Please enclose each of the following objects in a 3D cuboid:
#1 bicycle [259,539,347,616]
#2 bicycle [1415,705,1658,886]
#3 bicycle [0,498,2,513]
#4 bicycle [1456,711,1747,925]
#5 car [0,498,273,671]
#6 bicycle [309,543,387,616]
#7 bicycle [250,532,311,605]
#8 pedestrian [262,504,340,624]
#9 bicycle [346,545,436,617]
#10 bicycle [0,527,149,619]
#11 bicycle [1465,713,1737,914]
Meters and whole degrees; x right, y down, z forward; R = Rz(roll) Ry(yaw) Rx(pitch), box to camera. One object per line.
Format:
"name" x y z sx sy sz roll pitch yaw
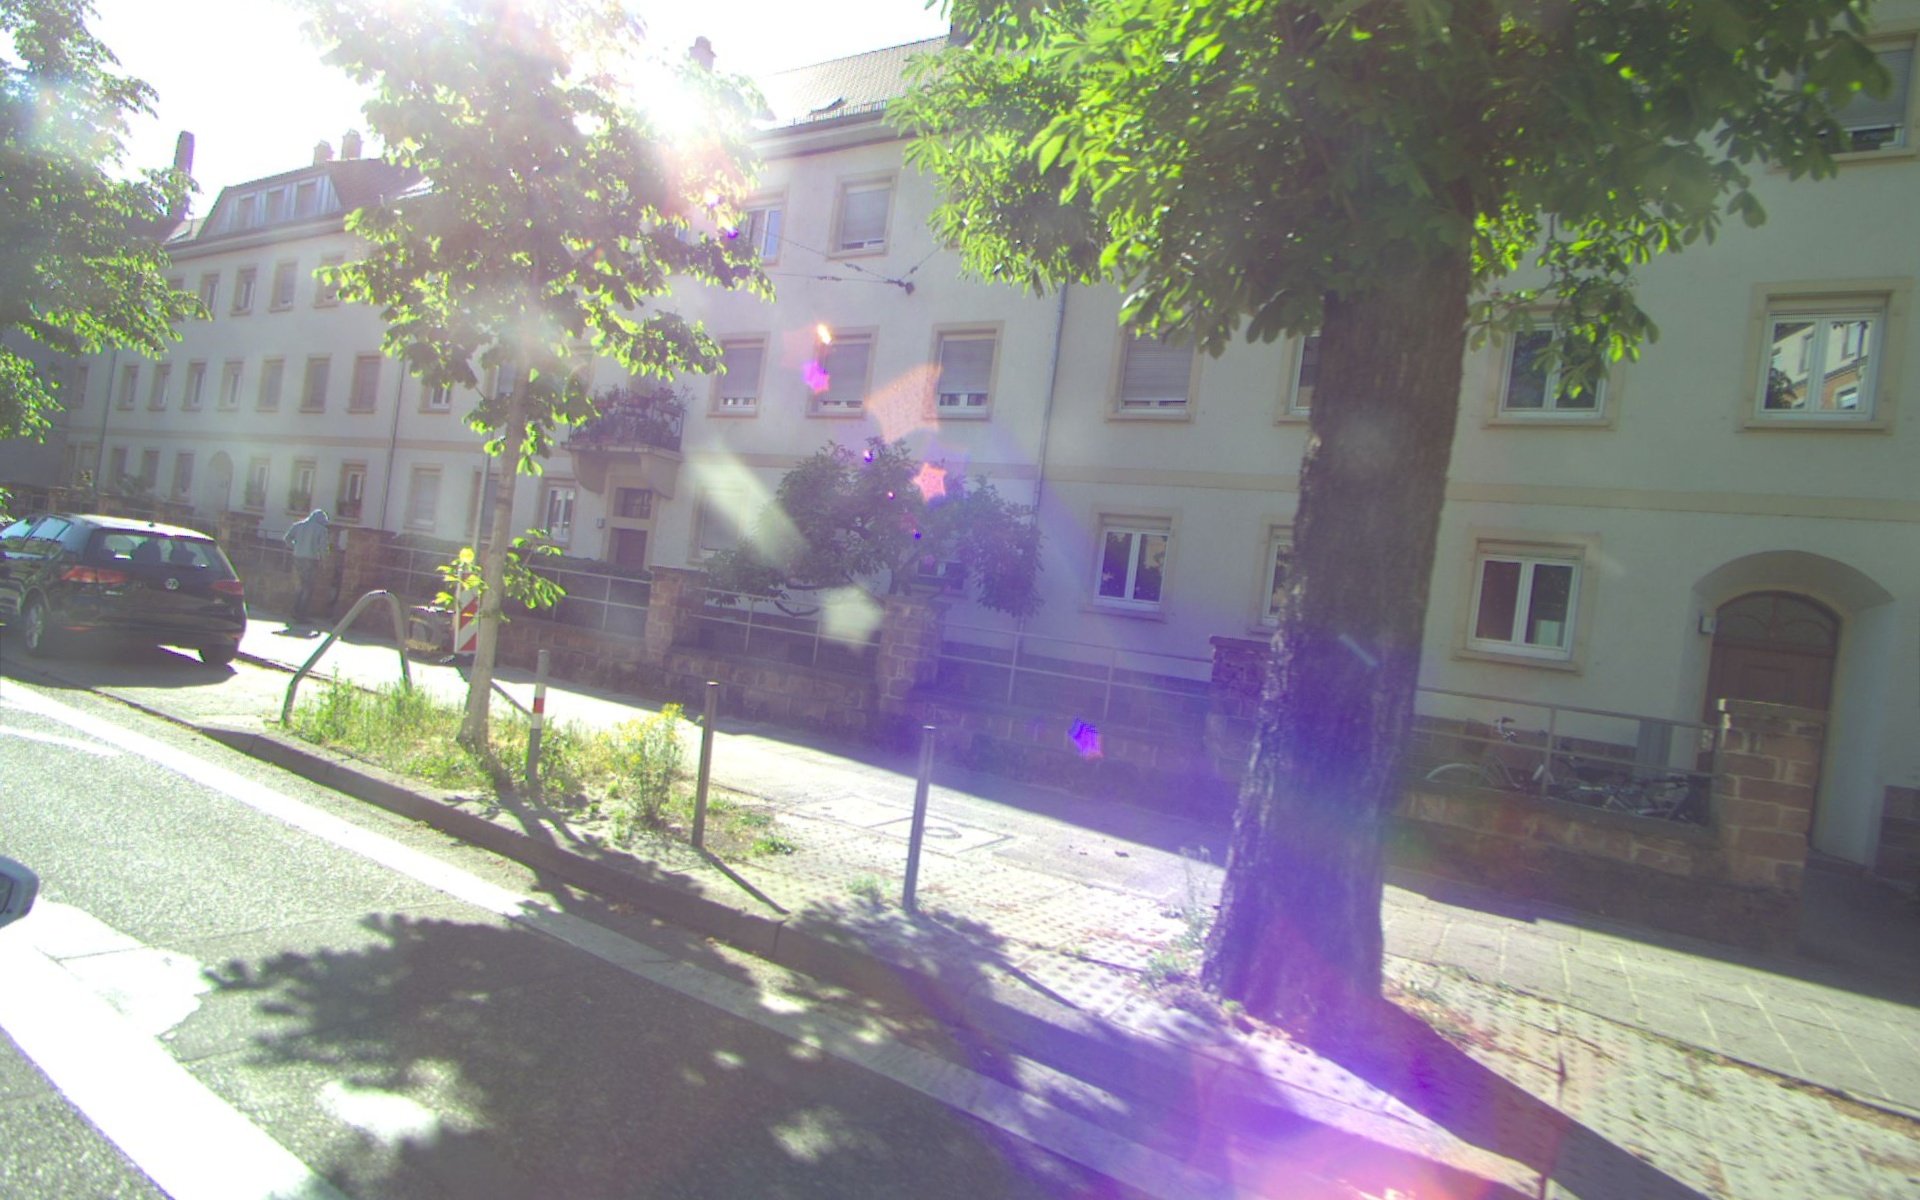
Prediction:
"bicycle" -11.838 -0.417 18.104 1.885 1.166 0.448 7 -1 32
"bicycle" 5.120 1.692 9.023 1.712 1.235 0.543 7 0 31
"bicycle" -27.870 -2.368 28.630 1.350 1.237 0.435 7 -2 32
"bicycle" 4.883 1.612 7.778 1.712 1.235 0.543 7 0 31
"car" -9.741 -0.250 11.278 3.977 1.481 1.790 7 -1 31
"bicycle" -11.439 -0.388 18.787 1.548 1.165 0.442 7 -2 32
"bicycle" -13.145 -0.618 19.448 1.403 1.275 0.349 7 -2 36
"pedestrian" -10.352 -0.561 15.818 0.757 1.743 0.575 9 -2 -29
"bicycle" -11.095 -0.385 19.596 1.885 1.165 0.546 7 -2 32
"bicycle" -12.160 -0.359 13.517 0.610 1.080 1.797 7 0 26
"bicycle" 5.199 1.688 8.276 1.712 1.235 0.543 7 0 31
